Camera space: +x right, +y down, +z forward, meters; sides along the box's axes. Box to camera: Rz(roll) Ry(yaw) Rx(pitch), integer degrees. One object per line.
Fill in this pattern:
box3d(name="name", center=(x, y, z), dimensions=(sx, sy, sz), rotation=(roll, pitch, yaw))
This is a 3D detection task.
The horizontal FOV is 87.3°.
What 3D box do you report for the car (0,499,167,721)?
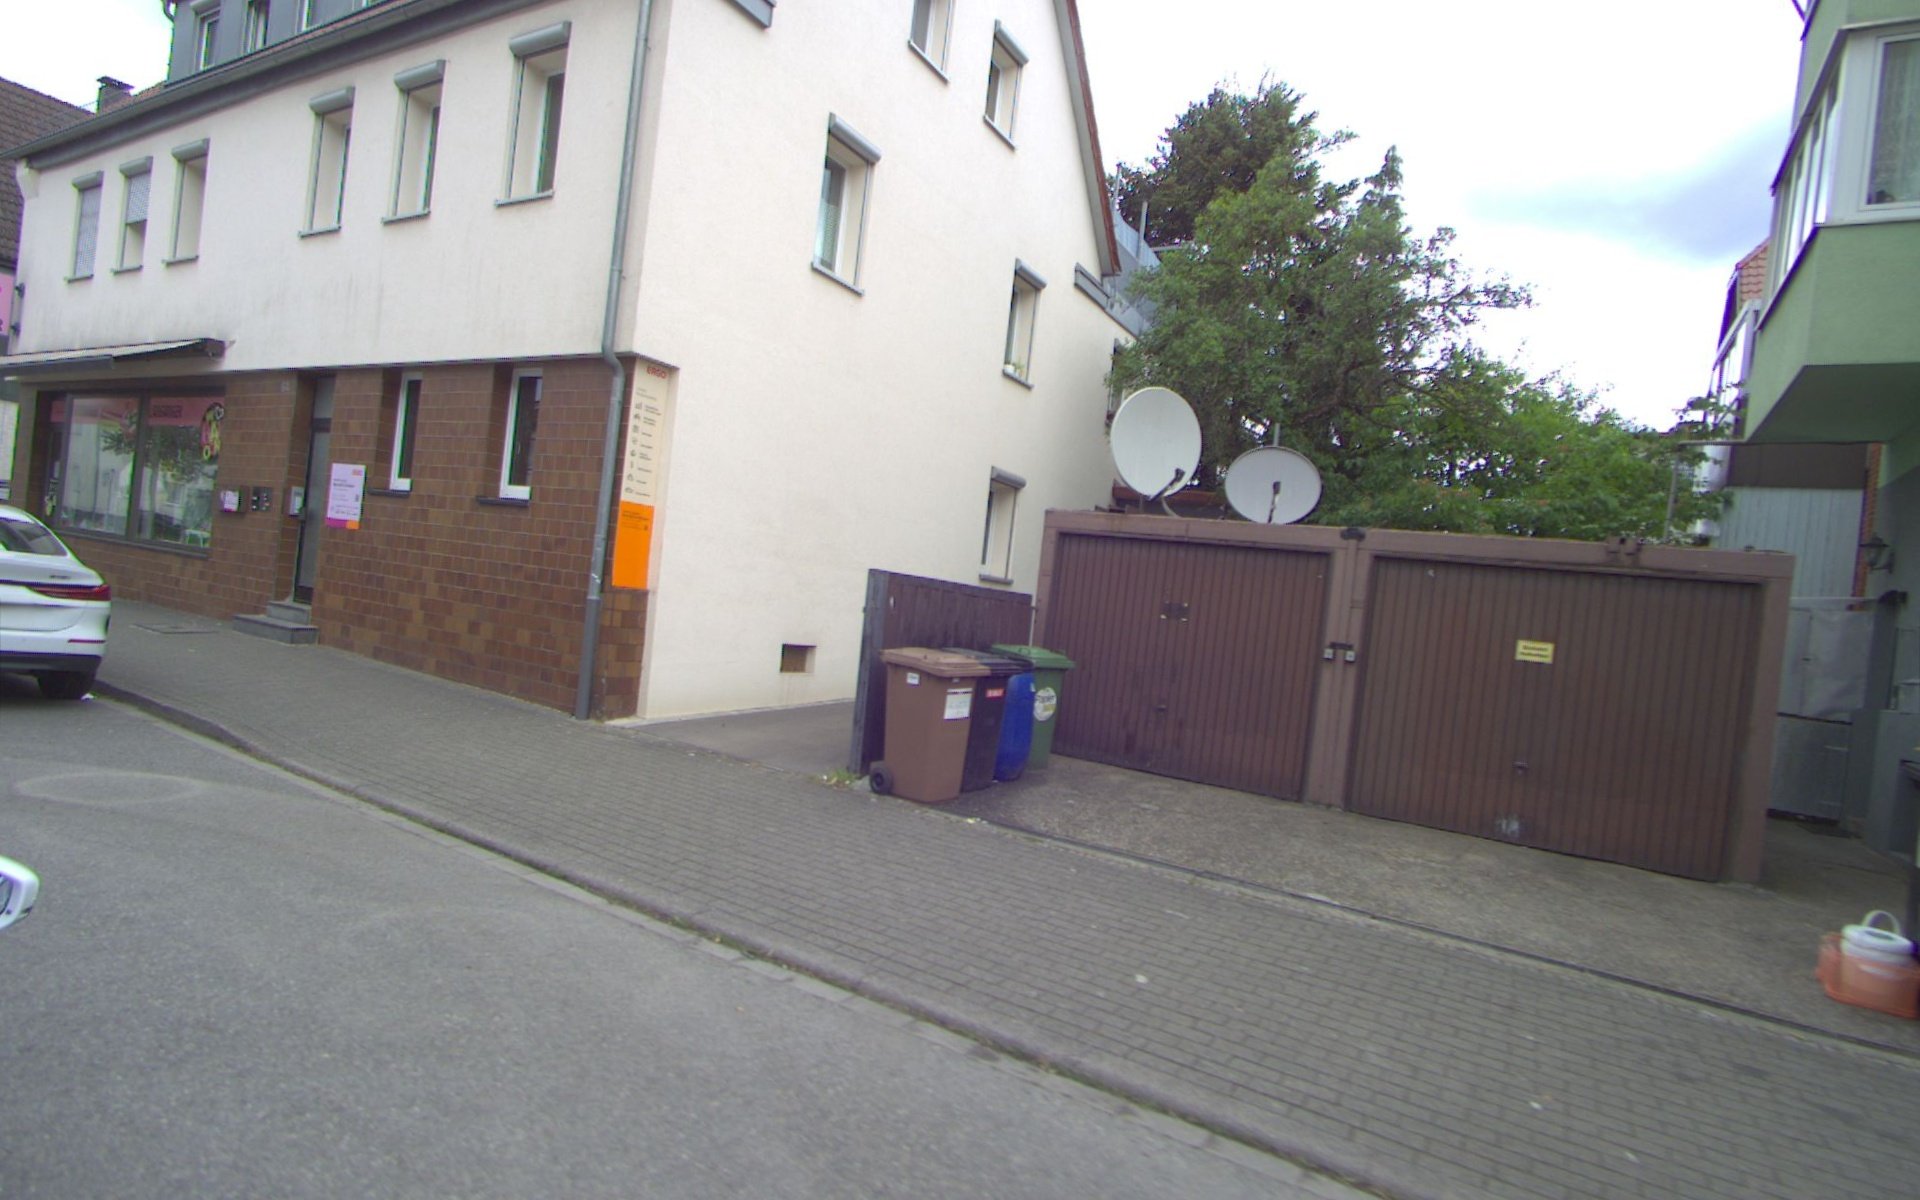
box3d(name="car", center=(-8.147, -0.142, 7.706), dimensions=(4.260, 1.463, 1.834), rotation=(7, -1, 32))
